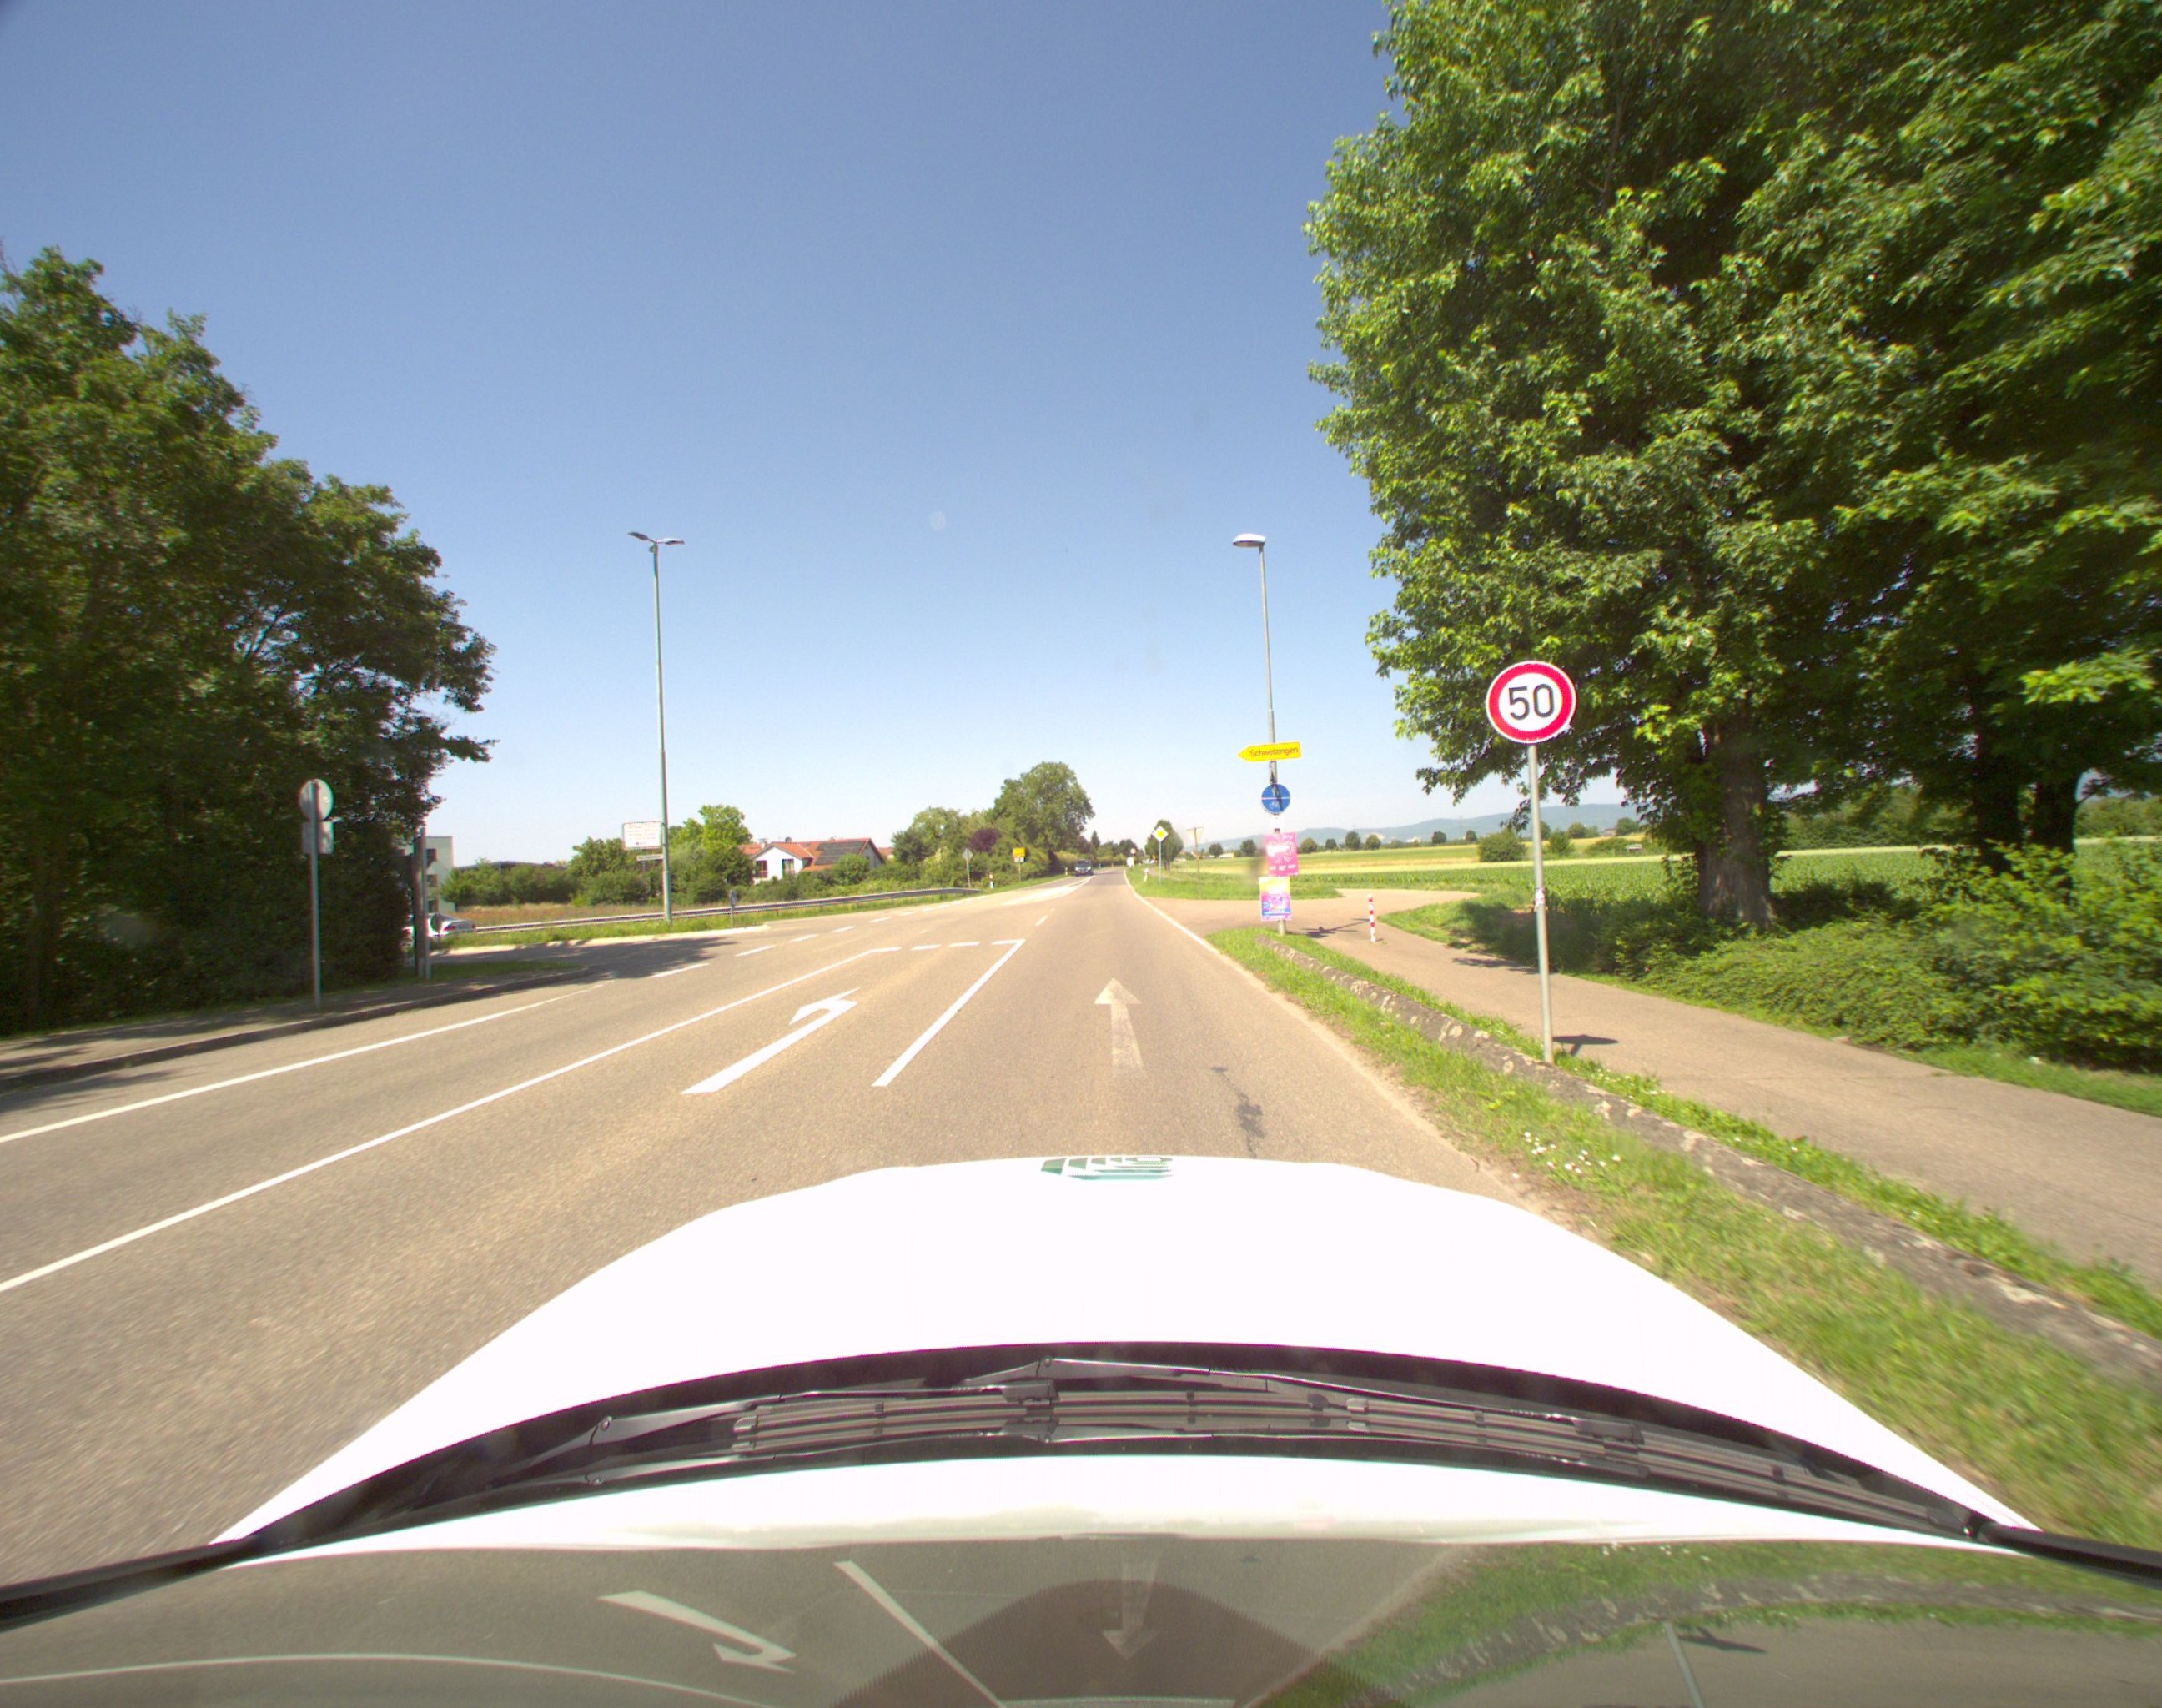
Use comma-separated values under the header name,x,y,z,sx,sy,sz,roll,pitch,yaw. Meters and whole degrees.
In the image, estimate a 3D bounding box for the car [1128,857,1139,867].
name,x,y,z,sx,sy,sz,roll,pitch,yaw
car,16.011,2.373,247.845,1.977,2.651,4.019,-4,-1,18

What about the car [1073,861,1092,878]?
name,x,y,z,sx,sy,sz,roll,pitch,yaw
car,0.248,1.835,99.031,2.137,1.951,5.248,-3,0,1

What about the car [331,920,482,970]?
name,x,y,z,sx,sy,sz,roll,pitch,yaw
car,-25.547,3.437,30.940,4.383,1.471,1.642,-3,-1,2
